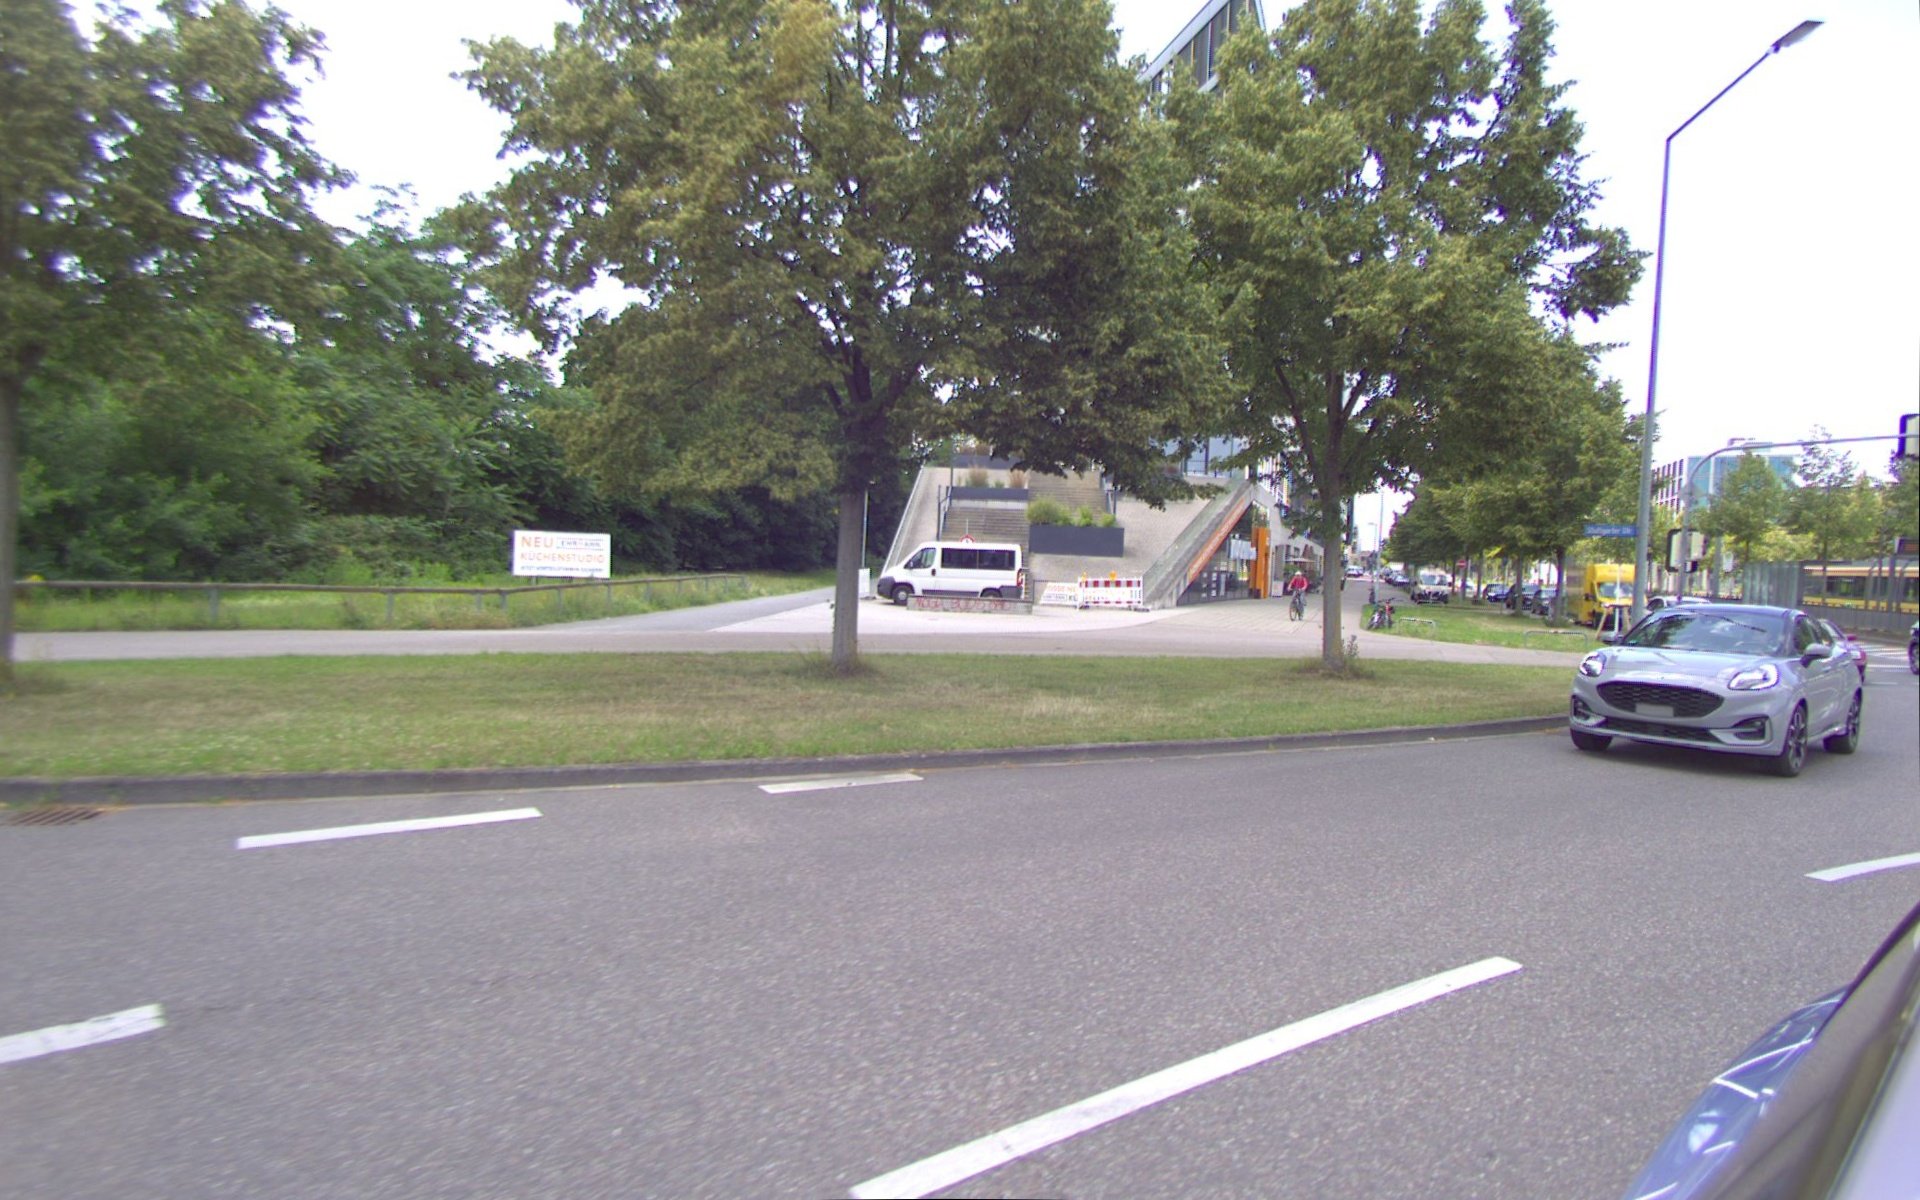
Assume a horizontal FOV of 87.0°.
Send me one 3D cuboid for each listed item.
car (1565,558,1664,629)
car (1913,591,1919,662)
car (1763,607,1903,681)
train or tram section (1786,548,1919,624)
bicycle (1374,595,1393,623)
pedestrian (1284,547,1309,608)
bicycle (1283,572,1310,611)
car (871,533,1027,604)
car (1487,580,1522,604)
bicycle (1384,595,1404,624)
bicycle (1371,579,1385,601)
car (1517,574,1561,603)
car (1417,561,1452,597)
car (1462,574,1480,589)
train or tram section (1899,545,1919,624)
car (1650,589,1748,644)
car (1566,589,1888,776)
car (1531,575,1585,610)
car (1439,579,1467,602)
[{"bbox_3d":[29.205,-0.385,45.451,2.259,2.888,7.204,3,3,22],"label":"car"},{"bbox_3d":[22.227,0.697,21.457,1.758,1.618,4.092,1,3,26],"label":"car"},{"bbox_3d":[18.665,0.877,21.812,1.663,1.277,4.044,4,2,33],"label":"car"},{"bbox_3d":[50.432,-0.817,56.161,2.664,3.683,14.560,3,2,22],"label":"train or tram section"},{"bbox_3d":[13.279,0.272,31.753,0.353,0.836,1.466,2,2,16],"label":"bicycle"},{"bbox_3d":[11.715,-0.793,35.214,0.746,2.038,1.224,2,2,21],"label":"pedestrian"},{"bbox_3d":[11.753,-0.321,35.301,0.803,1.259,2.395,2,3,20],"label":"bicycle"},{"bbox_3d":[-0.324,-1.070,34.216,5.058,2.174,2.148,2,2,4],"label":"car"},{"bbox_3d":[42.547,-0.659,79.167,1.978,1.712,4.262,1,2,24],"label":"car"},{"bbox_3d":[13.414,0.287,31.314,0.353,0.836,1.466,2,2,16],"label":"bicycle"},{"bbox_3d":[22.558,-0.548,54.678,0.510,1.101,1.738,3,2,18],"label":"bicycle"},{"bbox_3d":[37.508,-0.754,65.600,1.978,1.783,4.262,1,2,24],"label":"car"},{"bbox_3d":[34.164,-1.541,72.727,2.142,2.423,6.222,1,2,26],"label":"car"},{"bbox_3d":[67.748,-2.475,134.199,1.981,2.038,3.964,1,2,27],"label":"car"},{"bbox_3d":[45.315,-0.554,43.172,2.818,3.785,13.381,3,2,22],"label":"train or tram section"},{"bbox_3d":[24.334,0.473,33.467,1.656,1.618,4.097,1,2,22],"label":"car"},{"bbox_3d":[7.922,0.681,10.325,4.018,1.489,1.674,0,2,-39],"label":"car"},{"bbox_3d":[32.572,-0.472,55.207,1.978,1.783,4.262,1,2,24],"label":"car"},{"bbox_3d":[38.148,-0.732,78.378,1.806,1.671,3.966,1,2,25],"label":"car"}]
